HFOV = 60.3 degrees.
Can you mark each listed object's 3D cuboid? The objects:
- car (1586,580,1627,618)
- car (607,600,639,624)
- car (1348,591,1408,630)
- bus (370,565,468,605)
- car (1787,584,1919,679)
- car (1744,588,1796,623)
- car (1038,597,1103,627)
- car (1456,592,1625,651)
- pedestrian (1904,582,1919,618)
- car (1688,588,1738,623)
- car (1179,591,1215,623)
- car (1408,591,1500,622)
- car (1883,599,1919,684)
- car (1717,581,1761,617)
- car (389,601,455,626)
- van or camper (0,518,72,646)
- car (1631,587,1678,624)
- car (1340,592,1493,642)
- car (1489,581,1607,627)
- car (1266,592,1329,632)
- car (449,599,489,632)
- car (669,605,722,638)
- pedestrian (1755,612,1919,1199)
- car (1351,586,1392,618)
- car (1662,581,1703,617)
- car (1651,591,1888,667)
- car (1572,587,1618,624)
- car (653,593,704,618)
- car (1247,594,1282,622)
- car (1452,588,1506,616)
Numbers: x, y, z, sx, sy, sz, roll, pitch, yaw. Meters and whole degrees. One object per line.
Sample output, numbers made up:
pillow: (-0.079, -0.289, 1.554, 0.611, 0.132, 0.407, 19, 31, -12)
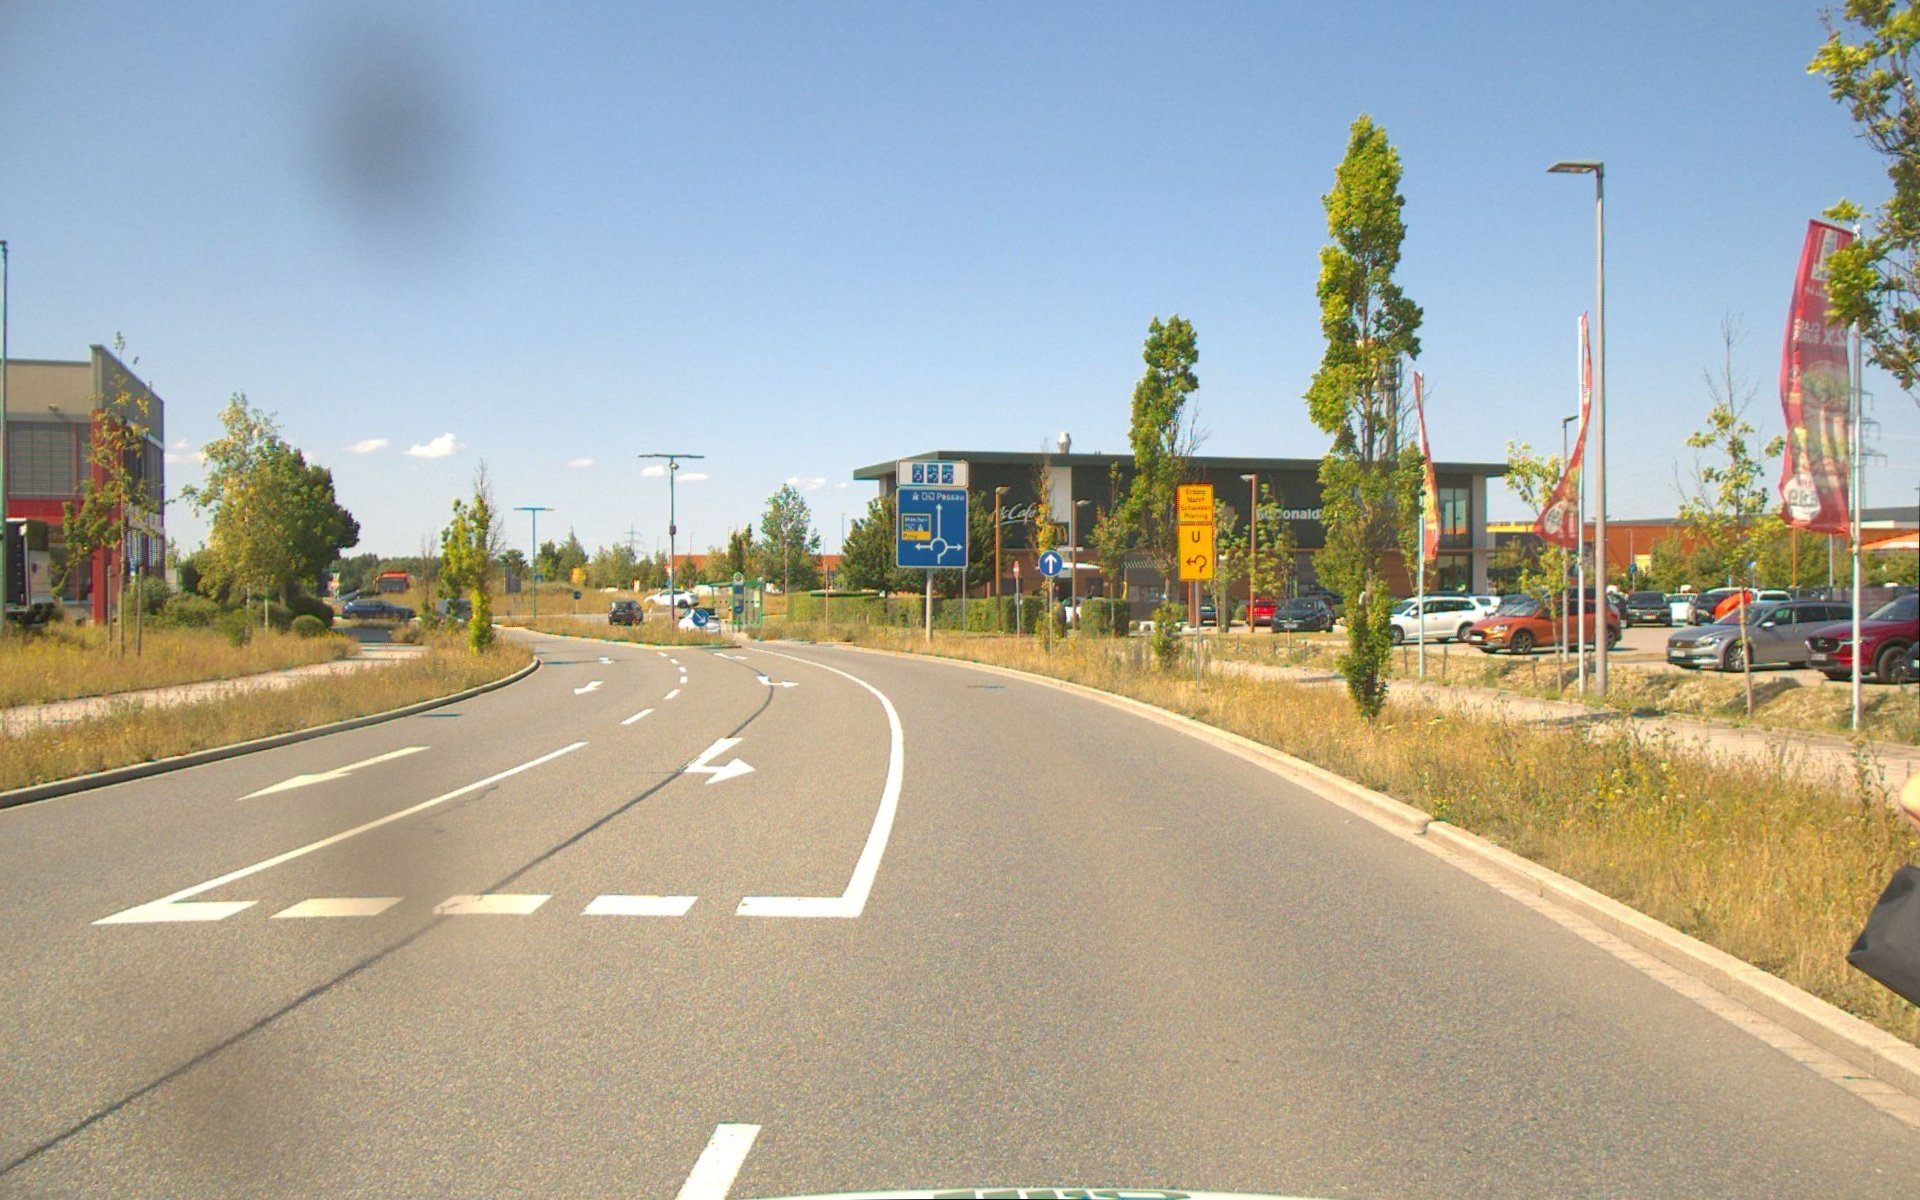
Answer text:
car: (31.395, -0.052, 80.265, 1.749, 1.788, 4.169, -1, 0, 22)
car: (-21.512, 0.753, 105.766, 1.585, 1.459, 3.788, 0, 0, -6)
car: (16.612, 0.386, 65.565, 1.749, 1.487, 4.169, -1, 0, 22)
bus: (-47.629, -1.404, 146.202, 2.727, 3.132, 12.216, -1, 2, 10)
car: (18.456, 0.557, 31.945, 4.074, 1.694, 1.866, -1, 1, -6)
car: (35.739, 0.220, 73.013, 1.749, 1.476, 4.169, -1, 0, 22)
car: (5.511, 0.595, 82.695, 1.767, 1.459, 3.975, -1, 0, -21)
car: (16.267, 0.578, 46.422, 4.133, 1.516, 1.862, -1, 1, -14)
pedestrian: (32.935, 0.003, 57.232, 0.374, 1.262, 0.290, -1, 0, -22)
car: (32.677, 0.220, 71.845, 1.749, 1.476, 4.169, -1, 0, 22)
car: (12.640, 0.369, 87.972, 1.754, 1.632, 4.003, -1, 0, 10)
car: (23.196, 0.292, 77.606, 3.908, 1.397, 1.797, -1, 0, 26)
car: (18.890, 0.686, 29.504, 4.081, 1.474, 1.786, -1, 1, -13)
car: (39.823, -0.054, 84.608, 1.749, 1.788, 4.169, -1, 0, 22)
car: (-34.662, 0.871, 106.579, 3.706, 1.544, 1.774, 0, 0, 12)
van or camper: (-29.286, -0.492, 46.110, 7.565, 3.529, 2.545, 0, 0, -16)
car: (29.431, 0.221, 70.125, 1.749, 1.476, 4.169, -1, 0, 22)
car: (14.824, 0.530, 53.766, 4.449, 1.516, 1.862, -1, 1, -14)
car: (22.359, 0.139, 62.859, 4.097, 1.664, 1.780, -1, 0, -22)
car: (13.102, 0.445, 64.130, 1.662, 1.487, 4.169, -1, 0, 22)
car: (-29.084, 0.890, 97.904, 1.923, 1.826, 4.399, -2, 1, -21)
car: (-11.944, 0.942, 74.552, 1.593, 1.459, 3.768, 0, 0, -21)
pedestrian: (2.499, 0.780, 3.926, 0.776, 1.496, 0.949, 0, 0, 1)
car: (22.886, 0.118, 91.987, 1.755, 1.731, 4.001, -1, 0, 20)
car: (36.377, -0.059, 83.314, 1.749, 1.788, 4.169, -1, 0, 22)
car: (17.854, 0.609, 36.554, 4.472, 1.516, 1.864, -1, 1, -10)
car: (26.603, 0.221, 69.231, 1.749, 1.476, 4.169, -1, 0, 22)
car: (-23.438, 0.478, 137.664, 3.903, 2.049, 1.835, 0, 0, 3)
car: (16.375, 0.436, 89.063, 1.754, 1.459, 4.003, -1, 0, 10)
car: (29.604, 0.082, 94.295, 1.762, 1.547, 3.986, -1, 0, 35)
